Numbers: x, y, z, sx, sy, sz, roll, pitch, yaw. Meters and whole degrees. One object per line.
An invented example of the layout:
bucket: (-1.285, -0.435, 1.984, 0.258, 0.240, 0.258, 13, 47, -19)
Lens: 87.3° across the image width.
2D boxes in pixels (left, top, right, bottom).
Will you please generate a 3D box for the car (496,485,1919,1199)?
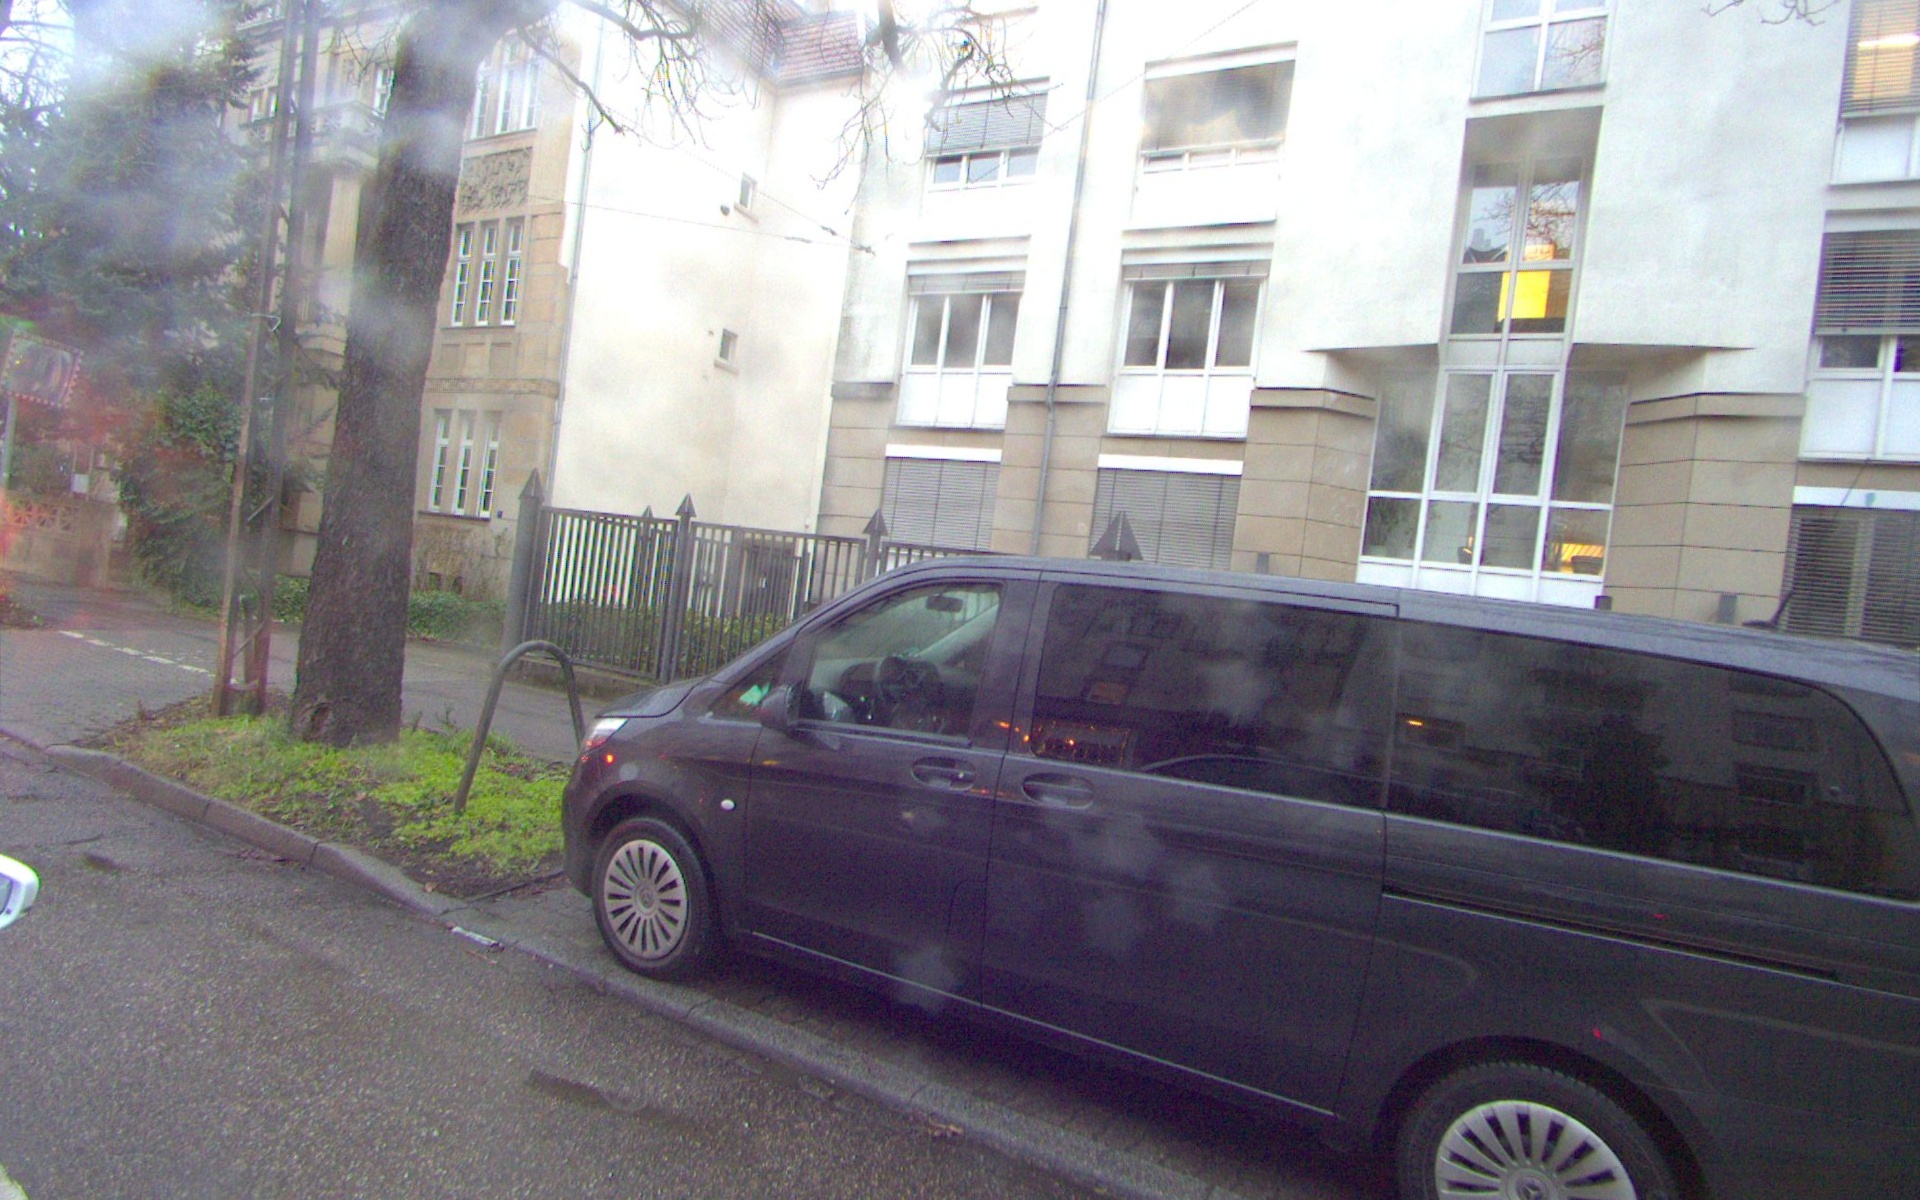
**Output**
car: (0.717, 0.786, 4.067, 4.877, 1.899, 2.035, 7, 0, 28)
